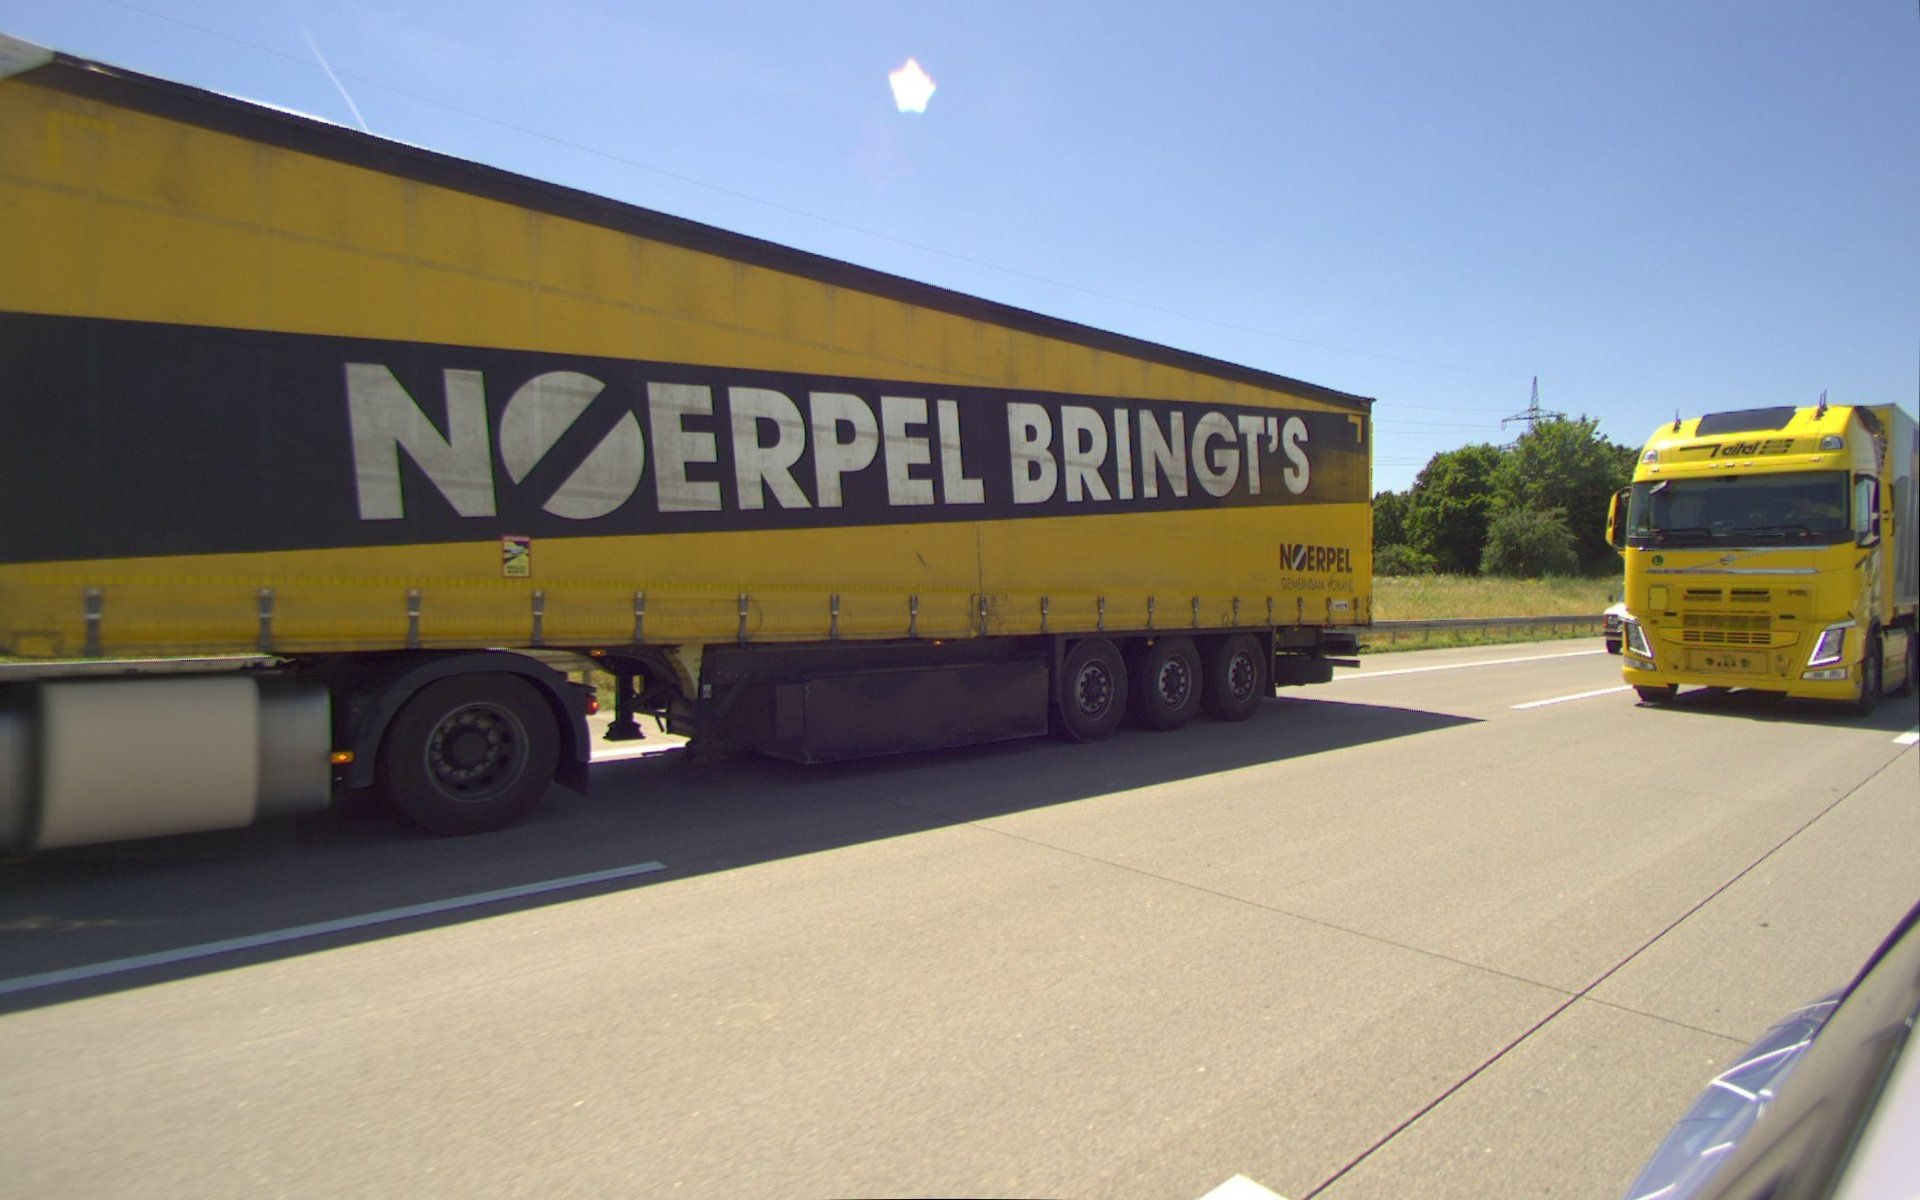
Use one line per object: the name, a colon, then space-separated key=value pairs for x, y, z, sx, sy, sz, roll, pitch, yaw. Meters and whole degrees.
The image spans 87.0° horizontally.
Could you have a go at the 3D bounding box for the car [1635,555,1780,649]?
car: x=20.977 y=0.016 z=28.312 sx=5.419 sy=2.377 sz=2.138 roll=-1 pitch=0 yaw=-41

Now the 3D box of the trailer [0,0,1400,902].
trailer: x=-0.262 y=-0.809 z=9.500 sx=14.488 sy=4.246 sz=1.997 roll=-1 pitch=0 yaw=-41

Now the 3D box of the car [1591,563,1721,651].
car: x=17.510 y=0.136 z=25.412 sx=3.753 sy=2.039 sz=1.787 roll=-1 pitch=0 yaw=-41

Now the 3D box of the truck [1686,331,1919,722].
truck: x=11.644 y=-0.835 z=13.592 sx=5.105 sy=4.308 sz=1.997 roll=0 pitch=0 yaw=-41

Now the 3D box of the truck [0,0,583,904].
truck: x=-5.128 y=-0.743 z=5.272 sx=5.606 sy=4.246 sz=1.997 roll=0 pitch=0 yaw=-41

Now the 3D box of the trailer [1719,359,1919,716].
trailer: x=16.518 y=-0.824 z=17.893 sx=14.936 sy=4.308 sz=1.996 roll=-1 pitch=0 yaw=-42
